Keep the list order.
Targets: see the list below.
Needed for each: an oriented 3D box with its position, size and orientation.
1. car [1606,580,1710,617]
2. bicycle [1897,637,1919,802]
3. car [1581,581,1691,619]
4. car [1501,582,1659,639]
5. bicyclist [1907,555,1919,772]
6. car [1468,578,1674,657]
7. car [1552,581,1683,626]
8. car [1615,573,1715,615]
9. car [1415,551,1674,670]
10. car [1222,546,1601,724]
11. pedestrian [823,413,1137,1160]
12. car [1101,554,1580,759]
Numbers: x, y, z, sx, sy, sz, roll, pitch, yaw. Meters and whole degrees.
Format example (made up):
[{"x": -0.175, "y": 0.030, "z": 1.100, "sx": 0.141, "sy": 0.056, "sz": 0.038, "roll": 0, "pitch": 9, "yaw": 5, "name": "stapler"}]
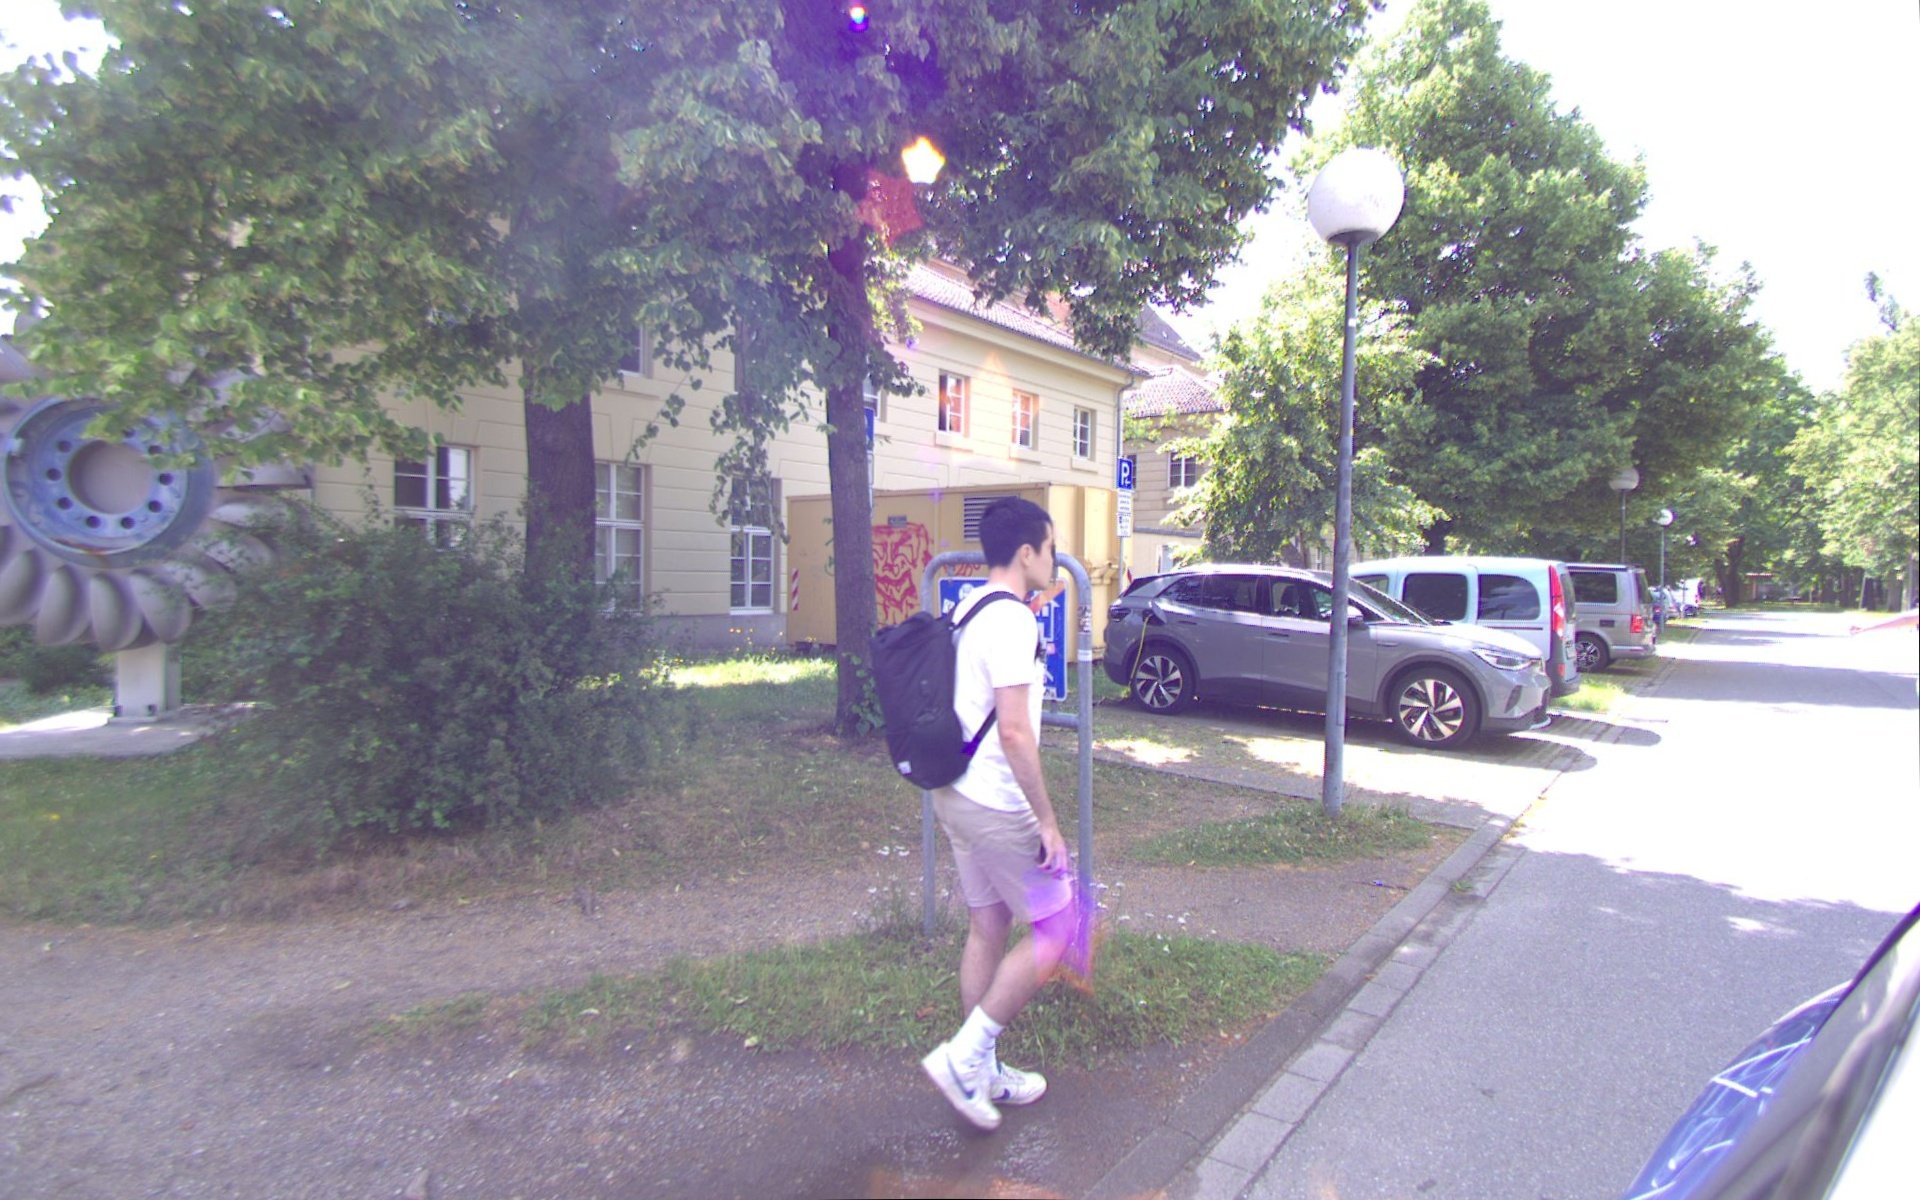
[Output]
[{"x": 32.476, "y": -0.093, "z": 47.113, "sx": 3.838, "sy": 1.595, "sz": 1.678, "roll": 2, "pitch": 2, "yaw": 40, "name": "car"}, {"x": 6.895, "y": 0.831, "z": 6.814, "sx": 0.672, "sy": 1.086, "sz": 2.107, "roll": 0, "pitch": 0, "yaw": 38, "name": "bicycle"}, {"x": 29.545, "y": -0.023, "z": 44.303, "sx": 3.838, "sy": 1.540, "sz": 1.699, "roll": 2, "pitch": 2, "yaw": 40, "name": "car"}, {"x": 18.623, "y": 0.255, "z": 30.483, "sx": 3.838, "sy": 1.552, "sz": 1.760, "roll": 2, "pitch": 2, "yaw": 40, "name": "car"}, {"x": 6.911, "y": 0.439, "z": 6.814, "sx": 0.672, "sy": 1.497, "sz": 1.048, "roll": 0, "pitch": 0, "yaw": 38, "name": "bicyclist"}, {"x": 14.036, "y": 0.336, "z": 23.344, "sx": 3.838, "sy": 1.614, "sz": 1.760, "roll": 2, "pitch": 2, "yaw": 40, "name": "car"}, {"x": 24.032, "y": 0.098, "z": 37.037, "sx": 3.838, "sy": 1.506, "sz": 1.699, "roll": 2, "pitch": 2, "yaw": 40, "name": "car"}, {"x": 34.227, "y": -0.312, "z": 49.203, "sx": 3.838, "sy": 1.903, "sz": 1.755, "roll": 2, "pitch": 2, "yaw": 40, "name": "car"}, {"x": 11.190, "y": 0.113, "z": 19.494, "sx": 4.034, "sy": 2.038, "sz": 1.971, "roll": 2, "pitch": 2, "yaw": 40, "name": "car"}, {"x": 5.505, "y": 0.298, "z": 12.557, "sx": 3.979, "sy": 1.860, "sz": 1.799, "roll": 2, "pitch": 2, "yaw": 38, "name": "car"}, {"x": 0.054, "y": 0.432, "z": 2.817, "sx": 0.639, "sy": 1.766, "sz": 0.574, "roll": 2, "pitch": 1, "yaw": 42, "name": "pedestrian"}, {"x": 3.852, "y": 0.406, "z": 10.627, "sx": 4.340, "sy": 1.672, "sz": 1.869, "roll": 3, "pitch": 2, "yaw": 38, "name": "car"}]
